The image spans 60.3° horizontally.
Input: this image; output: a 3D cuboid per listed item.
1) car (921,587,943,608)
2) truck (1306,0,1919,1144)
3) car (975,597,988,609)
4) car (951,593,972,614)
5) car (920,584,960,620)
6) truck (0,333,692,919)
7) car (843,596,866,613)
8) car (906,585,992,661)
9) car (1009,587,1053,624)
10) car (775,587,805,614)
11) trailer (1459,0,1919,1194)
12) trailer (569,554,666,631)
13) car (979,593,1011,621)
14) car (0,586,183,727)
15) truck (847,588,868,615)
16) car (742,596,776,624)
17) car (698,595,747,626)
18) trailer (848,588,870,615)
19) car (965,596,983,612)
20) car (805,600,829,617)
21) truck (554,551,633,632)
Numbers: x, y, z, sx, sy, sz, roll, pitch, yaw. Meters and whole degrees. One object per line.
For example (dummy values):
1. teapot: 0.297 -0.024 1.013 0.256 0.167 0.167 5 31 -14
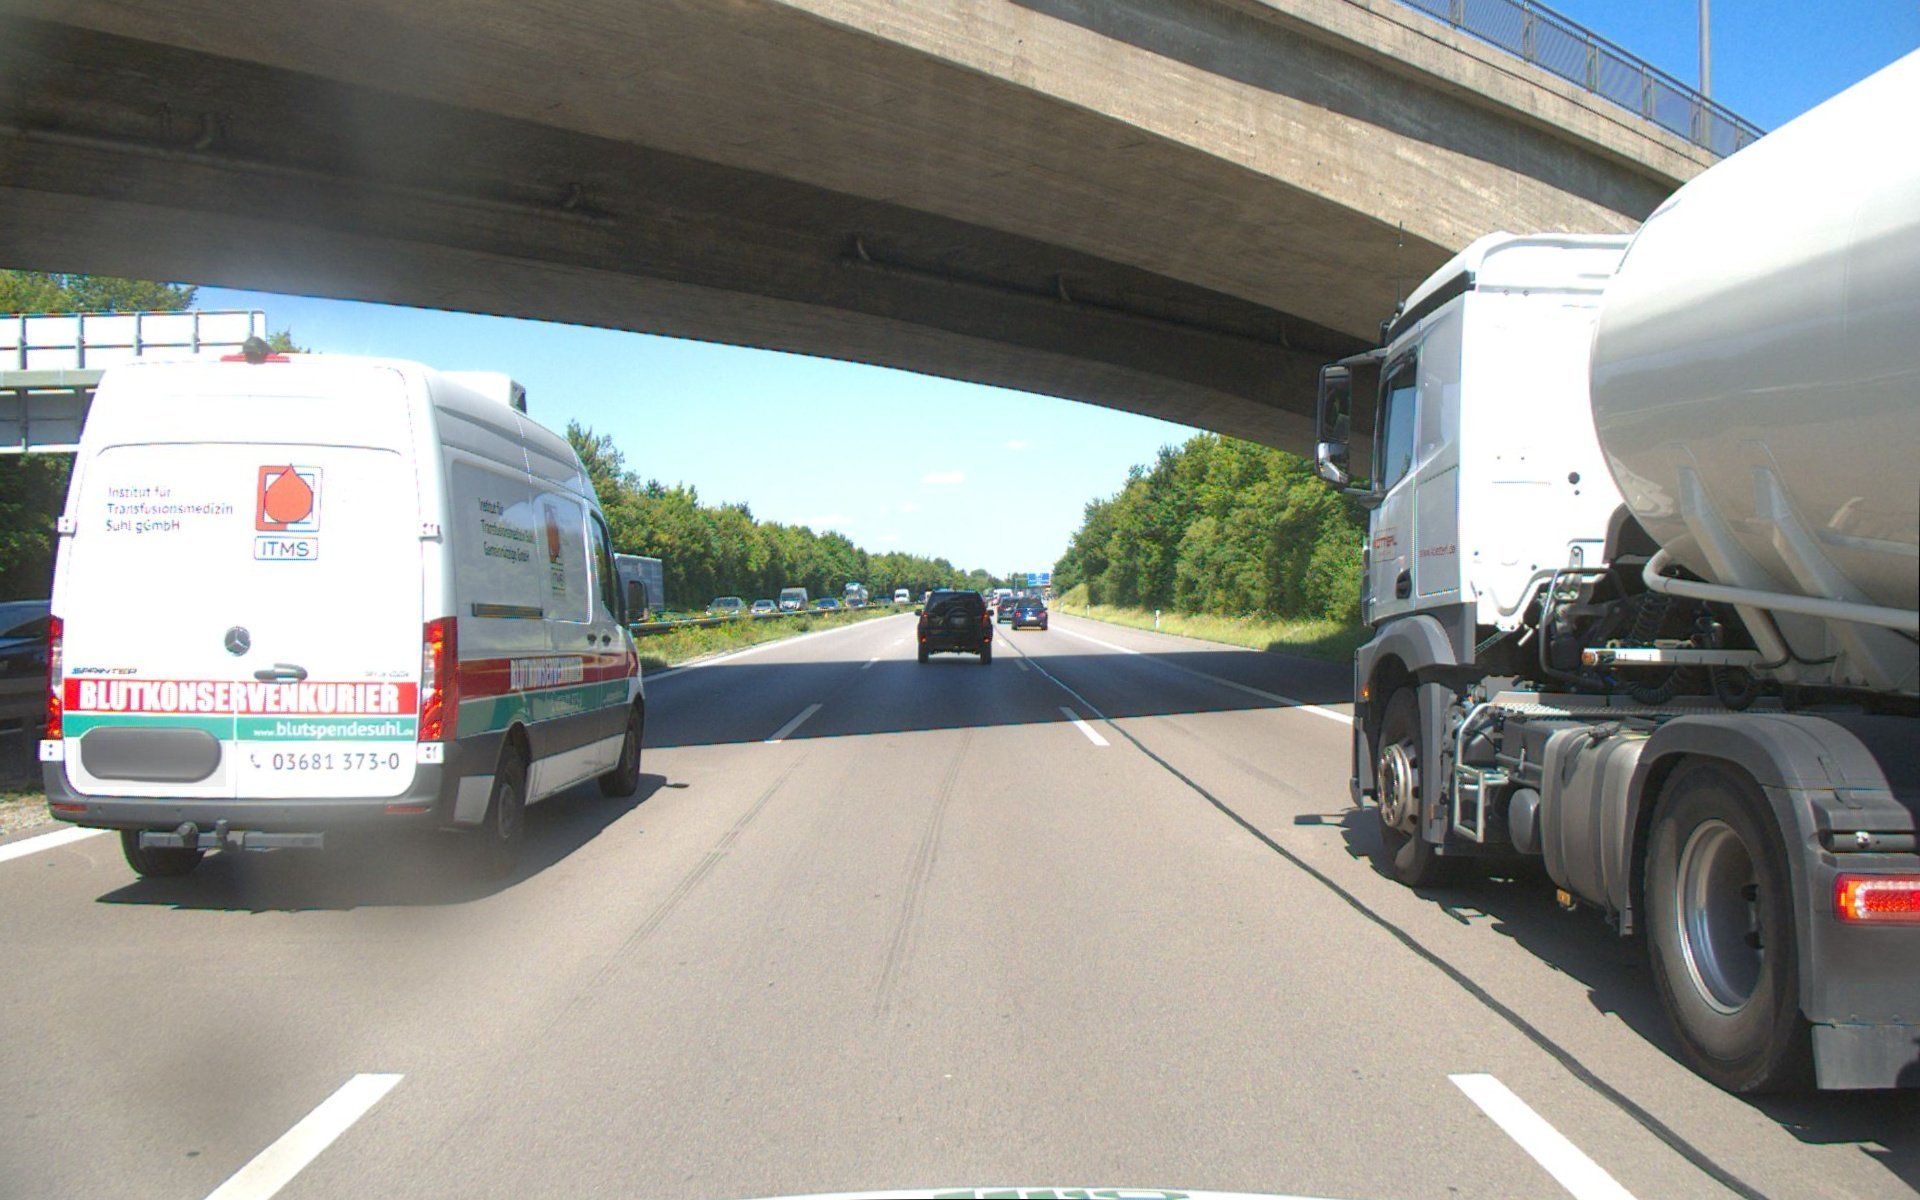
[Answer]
1. car: -2.887 -0.249 172.239 1.952 2.049 4.951 -1 0 2
2. truck: 3.598 -0.282 7.624 2.584 3.434 6.486 0 0 0
3. car: 3.254 0.428 255.937 1.776 1.777 3.998 -1 0 -2
4. car: 0.142 0.351 165.566 1.953 2.049 4.766 -1 0 -1
5. car: -1.042 0.096 83.947 1.953 1.736 4.335 -1 0 -1
6. truck: -3.306 0.103 10.737 1.952 2.587 6.692 1 0 0
7. car: -10.942 0.447 171.858 1.952 1.636 4.649 -1 0 2
8. car: -0.303 0.515 39.253 1.868 1.694 3.998 -1 0 -3
9. car: 3.426 0.284 80.895 1.953 1.713 3.999 -1 -1 0
10. car: -14.905 0.052 144.953 1.953 2.274 6.517 -1 -1 0
11. trailer: 3.695 -0.263 1.962 2.594 3.449 11.148 0 0 -1
12. trailer: -19.965 -0.436 97.342 2.728 4.111 13.546 -3 0 0
13. car: 2.147 0.461 101.087 1.805 1.640 3.999 -1 -1 -1
14. car: -11.192 0.640 19.782 1.739 1.499 4.418 -3 0 -2
15. truck: -15.481 0.196 250.754 2.676 3.949 6.321 -3 0 -1
16. car: -15.558 0.800 128.171 1.953 2.133 5.248 -1 -1 0
17. car: -12.113 0.518 84.523 1.843 1.509 4.434 -1 0 0
18. trailer: -15.594 0.235 256.877 2.710 3.949 9.456 -3 0 0
19. car: 1.692 0.481 199.781 1.953 1.780 4.203 -1 0 -2
20. car: -12.137 0.745 140.466 1.690 1.399 4.544 -1 0 -1
21. truck: -19.930 -0.473 90.233 2.728 4.131 6.209 -3 0 0
